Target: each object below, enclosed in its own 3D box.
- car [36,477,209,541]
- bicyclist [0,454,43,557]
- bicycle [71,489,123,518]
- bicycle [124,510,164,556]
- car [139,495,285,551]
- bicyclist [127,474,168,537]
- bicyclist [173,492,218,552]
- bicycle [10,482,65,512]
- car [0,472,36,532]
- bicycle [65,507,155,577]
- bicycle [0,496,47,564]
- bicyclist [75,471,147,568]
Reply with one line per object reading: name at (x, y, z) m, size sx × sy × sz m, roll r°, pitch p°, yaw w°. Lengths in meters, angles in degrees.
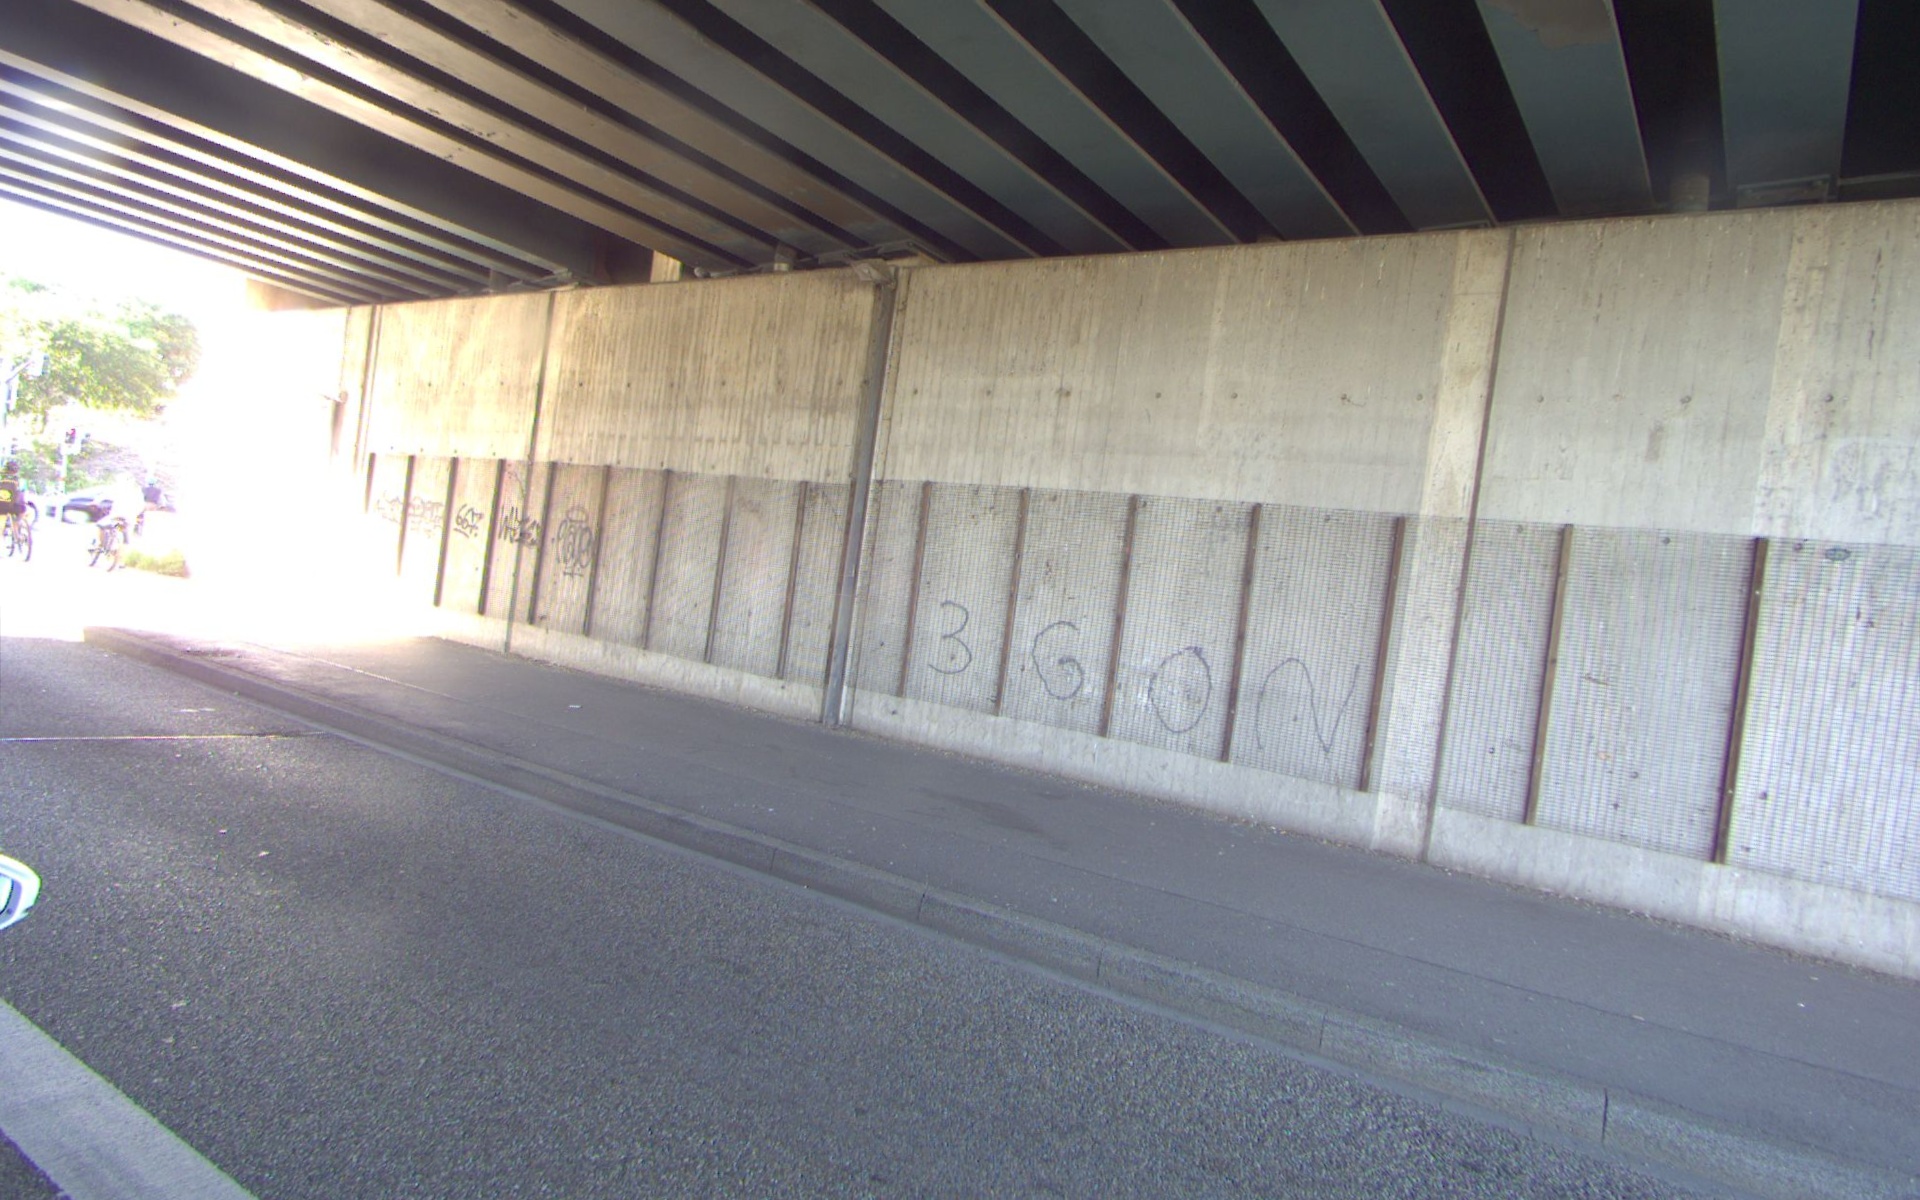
car at (-30.845, -3.330, 37.187) m, size 1.801 × 1.531 × 4.549 m, roll 6°, pitch -3°, yaw 38°
bicyclist at (-16.168, -1.610, 17.012) m, size 0.927 × 1.632 × 0.593 m, roll 6°, pitch -1°, yaw 32°
bicycle at (-41.079, -4.586, 47.891) m, size 0.586 × 1.035 × 1.743 m, roll 6°, pitch -2°, yaw 43°
bicycle at (-20.996, -1.714, 25.871) m, size 0.669 × 1.035 × 2.033 m, roll 8°, pitch -2°, yaw -40°
car at (-31.415, -3.200, 42.379) m, size 1.801 × 1.531 × 4.548 m, roll 6°, pitch -3°, yaw 39°
bicyclist at (-20.936, -2.415, 25.908) m, size 0.662 × 1.491 × 0.743 m, roll 8°, pitch -1°, yaw -41°
bicyclist at (-21.126, -2.151, 27.806) m, size 0.608 × 1.499 × 0.650 m, roll 8°, pitch 0°, yaw 31°
bicycle at (-42.891, -4.789, 46.775) m, size 0.585 × 1.035 × 1.744 m, roll 6°, pitch -2°, yaw 40°
car at (-27.311, -2.872, 26.750) m, size 1.855 × 1.561 × 4.188 m, roll 7°, pitch -1°, yaw -8°
bicycle at (-14.733, -1.011, 17.422) m, size 1.721 × 1.035 × 0.593 m, roll 6°, pitch -1°, yaw 32°
bicycle at (-16.212, -1.223, 17.023) m, size 1.721 × 1.035 × 0.593 m, roll 6°, pitch -1°, yaw 32°
bicyclist at (-14.695, -1.394, 17.418) m, size 0.756 × 1.566 × 0.593 m, roll 6°, pitch -1°, yaw 32°
